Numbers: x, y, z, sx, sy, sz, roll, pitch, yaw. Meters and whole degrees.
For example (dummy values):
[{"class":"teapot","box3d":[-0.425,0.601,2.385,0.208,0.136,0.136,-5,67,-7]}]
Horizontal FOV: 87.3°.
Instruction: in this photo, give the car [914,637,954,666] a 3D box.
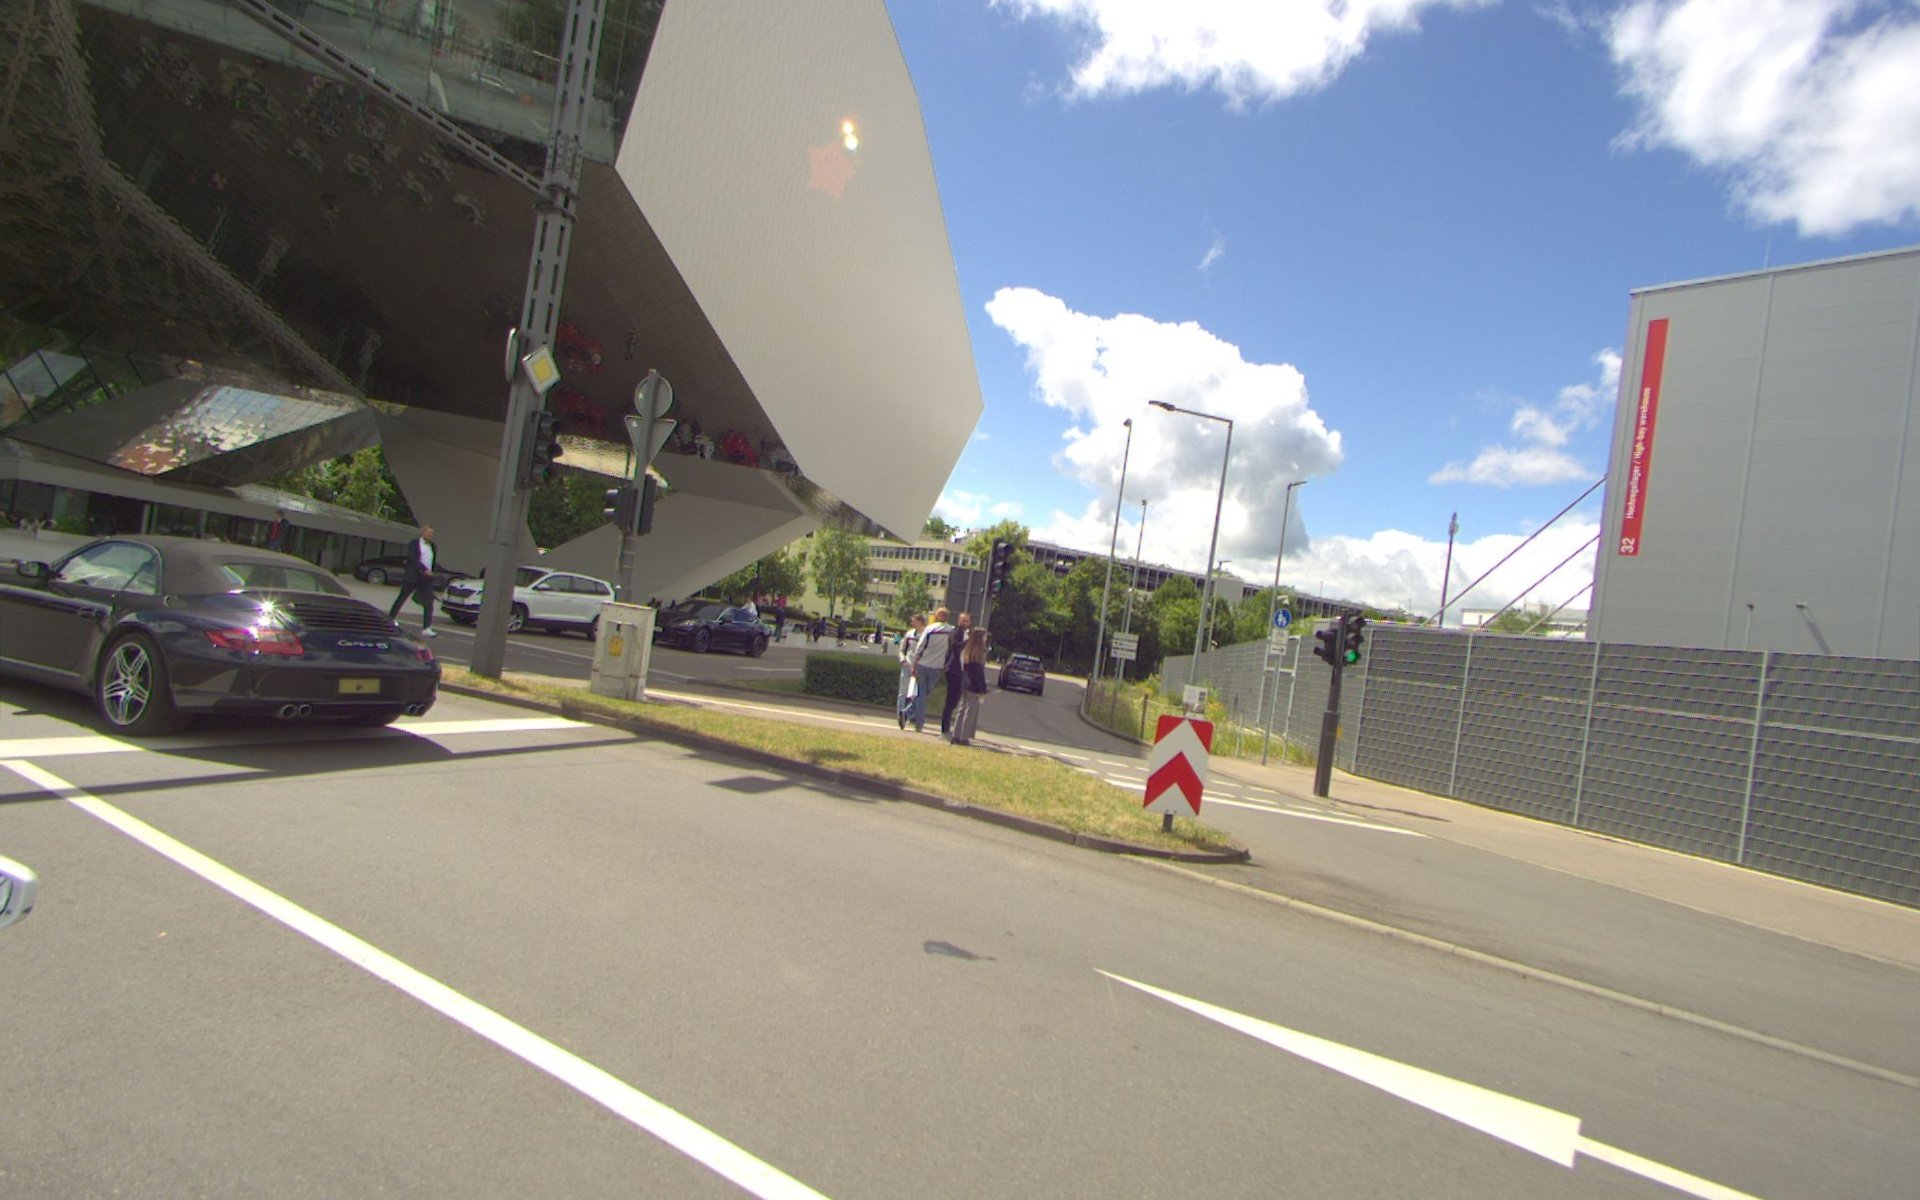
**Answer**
[{"class":"car","box3d":[-1.857,3.803,73.830,1.851,1.660,4.008,7,-4,12]}]

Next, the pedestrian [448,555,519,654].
[{"class":"pedestrian","box3d":[-7.883,0.092,16.681,0.759,1.512,0.582,8,-2,-12]}]

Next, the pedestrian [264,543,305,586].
[{"class":"pedestrian","box3d":[-28.099,-1.473,41.865,0.906,1.590,0.832,7,-3,18]}]

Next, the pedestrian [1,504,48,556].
[{"class":"pedestrian","box3d":[-32.164,-2.398,34.589,0.784,1.590,0.691,8,-3,-18]}]

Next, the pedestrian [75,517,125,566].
[{"class":"pedestrian","box3d":[-31.581,-2.135,36.948,0.906,1.590,0.832,7,-3,12]}]

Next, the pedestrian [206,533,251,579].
[{"class":"pedestrian","box3d":[-28.610,-1.708,39.371,0.906,1.590,0.832,7,-3,12]}]

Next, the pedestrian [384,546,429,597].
[{"class":"pedestrian","box3d":[-20.336,-1.052,36.966,0.906,1.694,0.832,7,-3,12]}]

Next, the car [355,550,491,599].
[{"class":"car","box3d":[-22.638,-1.052,42.589,4.604,1.234,1.997,9,-3,-13]}]

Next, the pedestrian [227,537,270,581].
[{"class":"pedestrian","box3d":[-28.799,-1.644,40.747,0.906,1.590,0.832,7,-3,12]}]

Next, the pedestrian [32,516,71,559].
[{"class":"pedestrian","box3d":[-31.437,-2.151,34.833,0.636,1.333,0.691,8,-3,-21]}]

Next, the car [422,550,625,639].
[{"class":"car","box3d":[-10.057,-0.072,23.494,1.806,1.568,3.998,6,-2,27]}]

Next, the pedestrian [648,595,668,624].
[{"class":"pedestrian","box3d":[-19.759,0.647,65.814,0.762,1.758,0.829,7,-2,4]}]

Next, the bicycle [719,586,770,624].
[{"class":"bicycle","box3d":[-8.962,0.215,41.954,0.769,1.287,1.922,6,-4,37]}]

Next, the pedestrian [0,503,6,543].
[{"class":"pedestrian","box3d":[-33.194,-2.568,34.204,0.918,1.590,0.821,10,-3,-43]}]

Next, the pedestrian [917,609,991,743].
[{"class":"pedestrian","box3d":[-0.094,1.085,14.464,0.664,1.814,0.617,8,-3,-23]}]

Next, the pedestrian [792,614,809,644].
[{"class":"pedestrian","box3d":[-11.219,2.040,70.922,0.762,2.036,0.829,7,-2,2]}]

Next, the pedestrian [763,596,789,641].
[{"class":"pedestrian","box3d":[-8.954,0.897,48.976,0.769,2.036,0.821,9,-3,-31]}]

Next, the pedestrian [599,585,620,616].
[{"class":"pedestrian","box3d":[-21.978,0.046,63.043,0.762,1.758,0.829,7,-2,2]}]

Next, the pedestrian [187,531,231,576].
[{"class":"pedestrian","box3d":[-29.553,-1.832,39.592,0.906,1.590,0.832,7,-3,12]}]

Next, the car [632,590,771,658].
[{"class":"car","box3d":[-7.344,0.747,29.033,1.804,1.398,4.165,9,-3,17]}]

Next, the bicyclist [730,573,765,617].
[{"class":"bicyclist","box3d":[-8.872,-0.190,41.990,0.761,1.671,0.935,6,-3,37]}]

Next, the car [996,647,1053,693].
[{"class":"car","box3d":[2.849,3.150,45.287,1.964,1.721,4.004,8,-3,-2]}]

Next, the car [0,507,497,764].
[{"class":"car","box3d":[-5.777,0.188,7.699,3.928,1.340,1.840,7,-2,25]}]

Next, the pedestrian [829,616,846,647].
[{"class":"pedestrian","box3d":[-8.434,2.169,69.131,0.762,2.036,0.829,7,-2,2]}]

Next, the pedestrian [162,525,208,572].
[{"class":"pedestrian","box3d":[-29.488,-1.947,38.293,0.906,1.590,0.832,7,-3,12]}]

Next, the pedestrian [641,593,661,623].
[{"class":"pedestrian","box3d":[-19.519,0.538,63.639,0.762,1.758,0.829,7,-2,2]}]

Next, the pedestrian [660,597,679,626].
[{"class":"pedestrian","box3d":[-18.924,0.750,65.567,0.762,1.758,0.829,7,-2,6]}]

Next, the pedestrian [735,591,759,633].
[{"class":"pedestrian","box3d":[-11.078,0.639,52.410,0.762,2.036,0.829,7,-2,2]}]

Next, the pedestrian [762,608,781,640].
[{"class":"pedestrian","box3d":[-12.820,1.662,68.507,0.762,2.036,0.829,7,-2,10]}]

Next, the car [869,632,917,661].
[{"class":"car","box3d":[-6.129,4.242,92.153,4.136,2.035,2.001,8,-3,-3]}]

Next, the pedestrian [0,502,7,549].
[{"class":"pedestrian","box3d":[-32.251,-2.498,33.249,0.918,1.590,0.821,10,-3,-43]}]

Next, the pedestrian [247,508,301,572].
[{"class":"pedestrian","box3d":[-22.111,-1.917,32.435,0.906,1.846,0.832,7,-2,12]}]

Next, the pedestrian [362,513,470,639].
[{"class":"pedestrian","box3d":[-9.748,-0.429,18.039,1.360,2.007,0.954,9,-1,37]}]

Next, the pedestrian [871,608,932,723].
[{"class":"pedestrian","box3d":[-0.967,1.062,16.489,0.599,1.778,0.617,8,-3,-23]}]

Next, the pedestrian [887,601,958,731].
[{"class":"pedestrian","box3d":[-0.580,0.996,15.321,0.665,1.867,0.617,9,-3,-25]}]

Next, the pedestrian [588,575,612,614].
[{"class":"pedestrian","box3d":[-20.044,-0.278,55.973,0.762,2.036,0.829,7,-2,2]}]

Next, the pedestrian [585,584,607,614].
[{"class":"pedestrian","box3d":[-22.969,-0.063,63.509,0.762,1.758,0.829,7,-2,5]}]

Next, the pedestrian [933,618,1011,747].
[{"class":"pedestrian","box3d":[0.167,1.131,13.741,0.661,1.656,0.620,6,-3,29]}]

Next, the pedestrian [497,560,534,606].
[{"class":"pedestrian","box3d":[-16.920,-0.642,38.300,0.788,1.557,0.788,7,-3,16]}]

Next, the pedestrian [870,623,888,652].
[{"class":"pedestrian","box3d":[-6.175,2.856,76.888,0.820,2.036,0.770,9,-3,-33]}]
